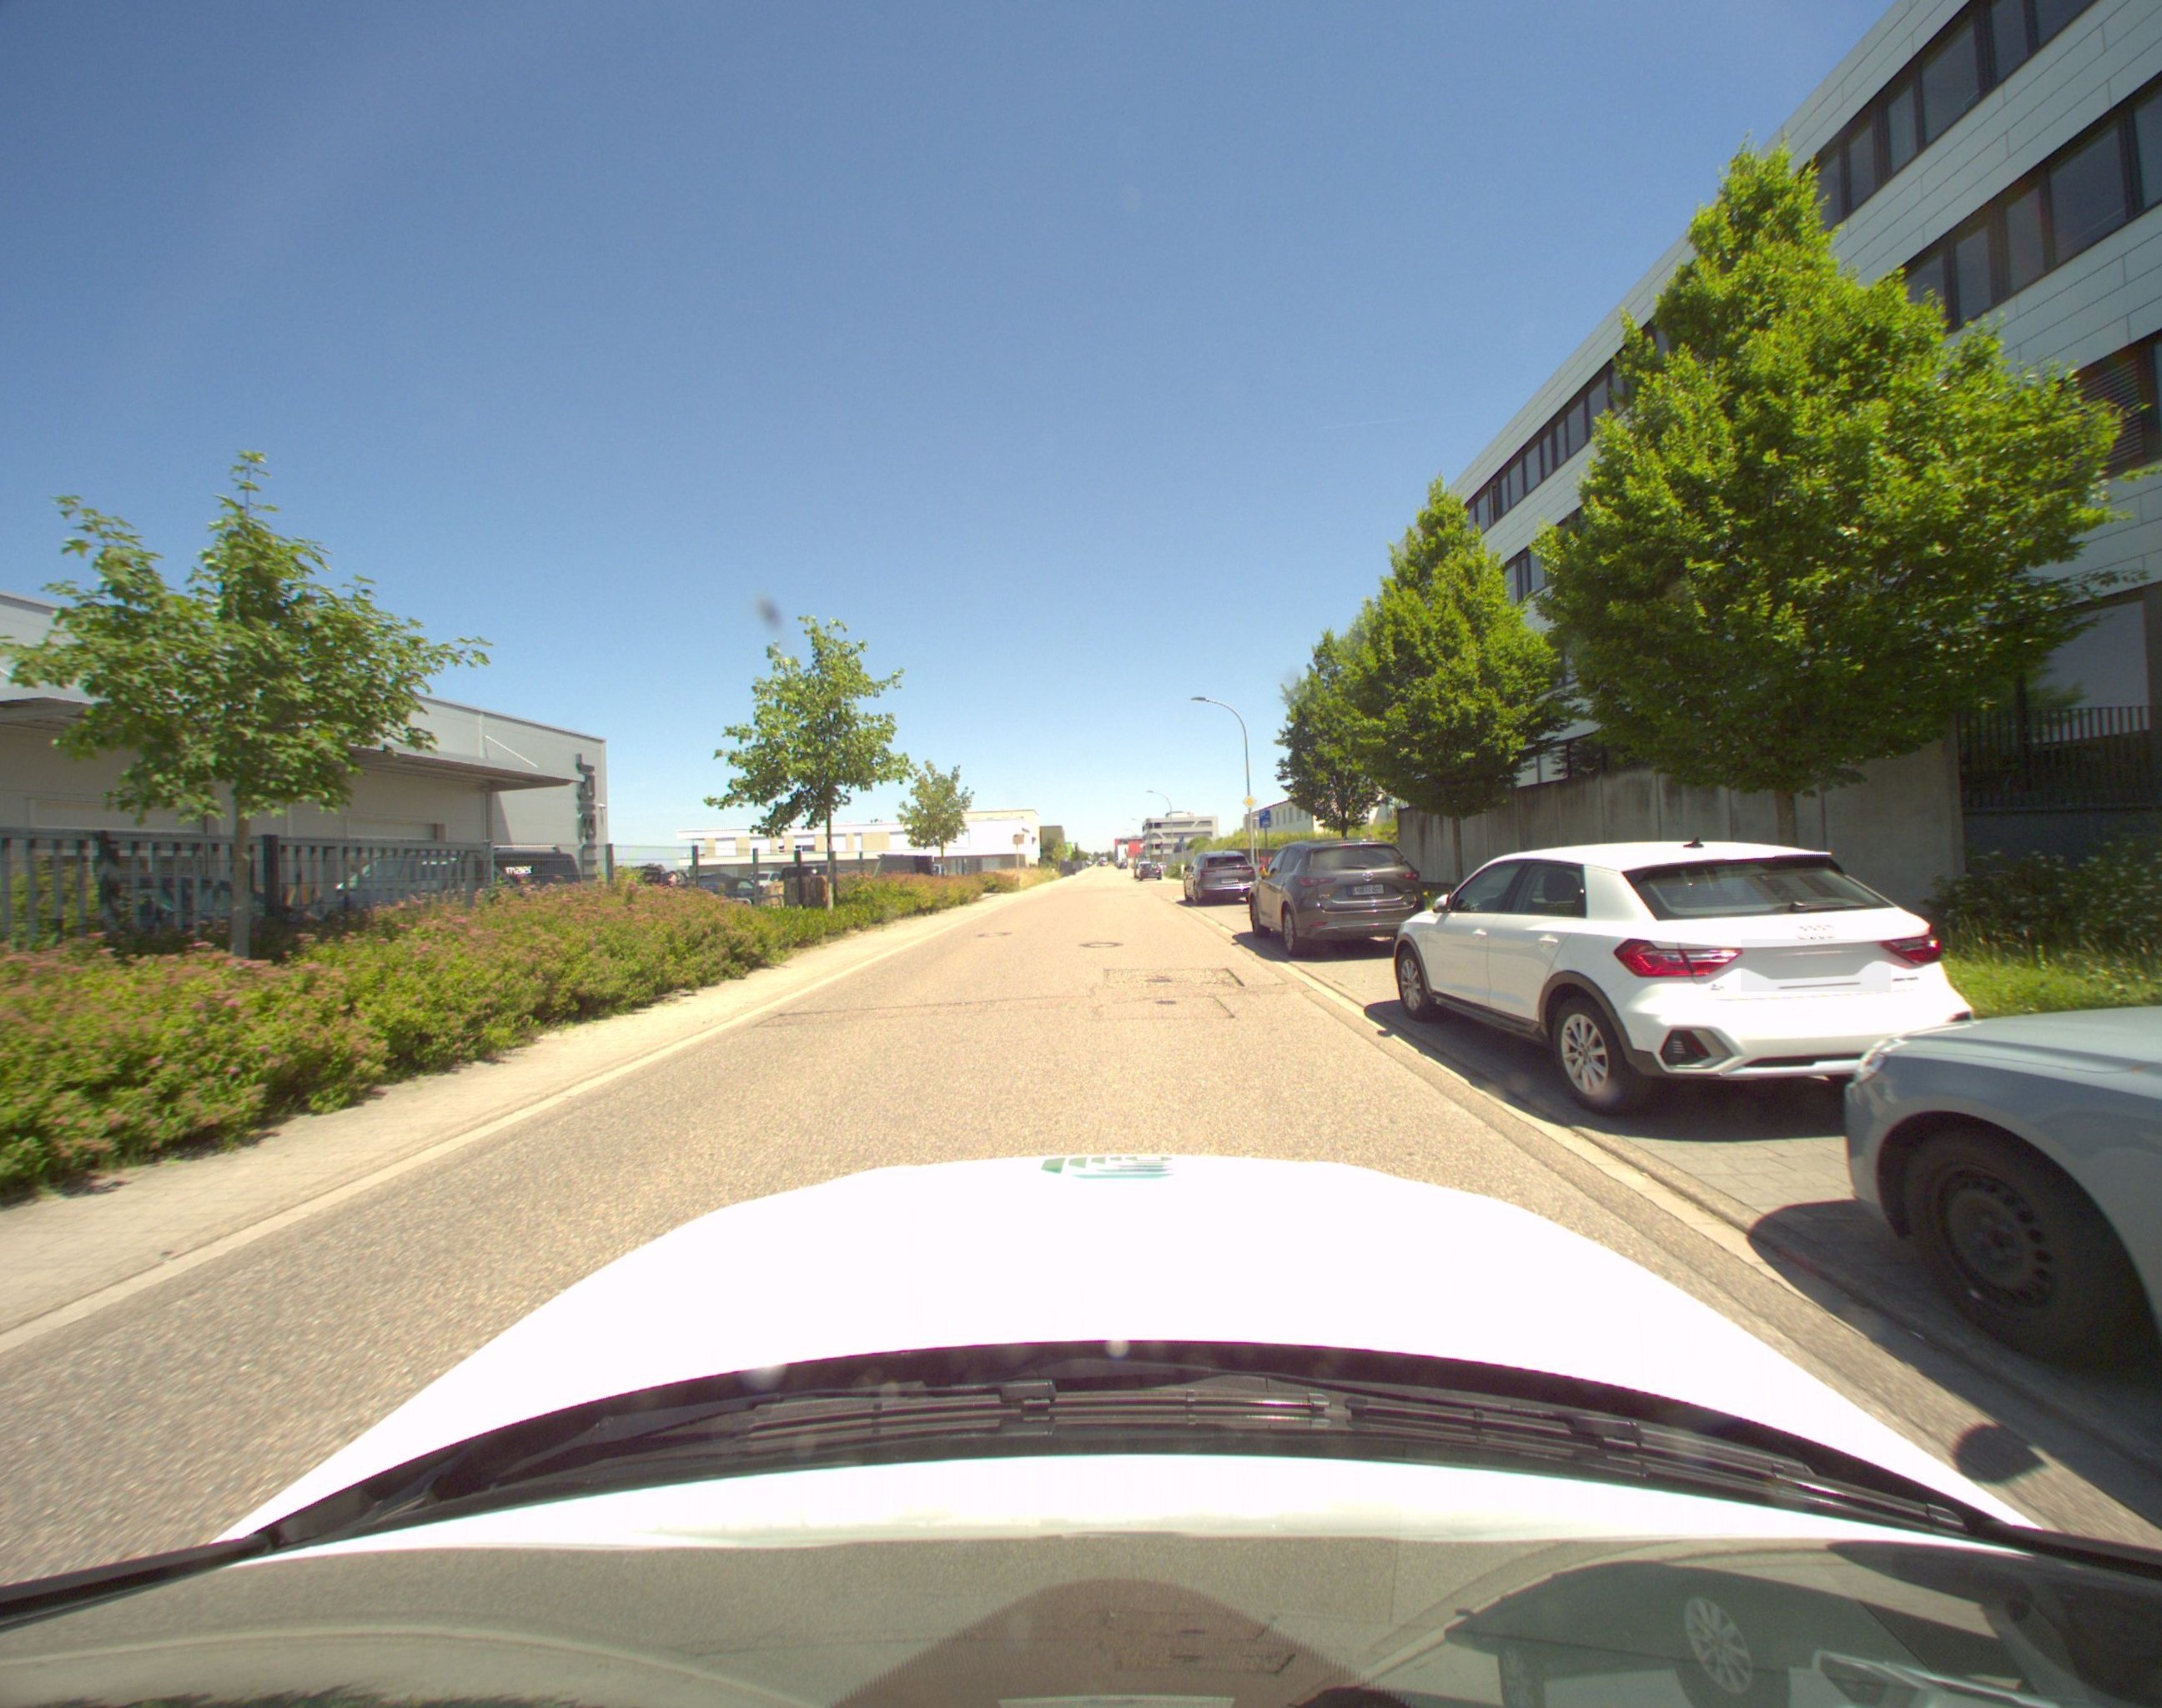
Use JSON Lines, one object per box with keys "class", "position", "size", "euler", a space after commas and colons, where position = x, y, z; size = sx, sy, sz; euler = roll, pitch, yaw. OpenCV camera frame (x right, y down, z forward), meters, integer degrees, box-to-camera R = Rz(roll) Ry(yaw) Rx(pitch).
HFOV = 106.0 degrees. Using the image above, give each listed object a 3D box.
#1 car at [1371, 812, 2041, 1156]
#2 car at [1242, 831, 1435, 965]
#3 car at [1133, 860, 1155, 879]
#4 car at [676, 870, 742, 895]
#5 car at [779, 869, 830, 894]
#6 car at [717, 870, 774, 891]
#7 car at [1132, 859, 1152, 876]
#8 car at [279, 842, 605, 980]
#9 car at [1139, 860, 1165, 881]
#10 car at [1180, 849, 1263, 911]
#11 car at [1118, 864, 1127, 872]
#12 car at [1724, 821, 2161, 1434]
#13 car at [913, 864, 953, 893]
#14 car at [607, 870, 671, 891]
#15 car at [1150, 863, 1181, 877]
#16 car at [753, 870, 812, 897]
{"class": "car", "position": [3.615, 0.618, 5.809], "size": [1.709, 1.481, 4.033], "euler": [-4, -1, 2]}
{"class": "car", "position": [3.810, 0.588, 12.887], "size": [1.751, 1.663, 4.365], "euler": [-4, 0, 2]}
{"class": "car", "position": [5.746, 1.390, 74.140], "size": [1.899, 1.546, 4.005], "euler": [-4, -1, 4]}
{"class": "car", "position": [-19.900, 1.502, 43.724], "size": [1.820, 1.134, 3.758], "euler": [-2, -1, -1]}
{"class": "car", "position": [-16.875, 1.660, 49.799], "size": [1.820, 1.337, 3.758], "euler": [-2, -1, -1]}
{"class": "car", "position": [-19.815, 1.553, 48.303], "size": [1.820, 1.134, 3.758], "euler": [-2, -1, -1]}
{"class": "car", "position": [6.043, 1.321, 80.420], "size": [1.899, 1.546, 4.005], "euler": [-4, -1, 4]}
{"class": "car", "position": [-11.122, 0.892, 14.760], "size": [1.992, 2.099, 4.697], "euler": [0, -1, 3]}
{"class": "car", "position": [5.672, 1.296, 65.217], "size": [1.899, 1.448, 4.005], "euler": [-4, -1, 4]}
{"class": "car", "position": [4.341, 0.759, 25.863], "size": [1.797, 1.662, 4.608], "euler": [-4, -1, 1]}
{"class": "car", "position": [8.999, 2.935, 175.937], "size": [1.769, 1.728, 4.001], "euler": [0, -1, 2]}
{"class": "car", "position": [3.401, 0.633, 1.263], "size": [1.709, 1.423, 3.953], "euler": [-4, -1, 2]}
{"class": "car", "position": [-8.280, 1.354, 45.722], "size": [1.695, 1.520, 2.996], "euler": [-2, -1, -1]}
{"class": "car", "position": [-26.579, 1.587, 49.081], "size": [1.820, 1.134, 3.758], "euler": [-2, -1, -1]}
{"class": "car", "position": [12.680, 2.432, 122.360], "size": [4.603, 2.014, 2.610], "euler": [0, -1, 5]}
{"class": "car", "position": [-16.343, 1.602, 44.725], "size": [1.820, 1.337, 3.758], "euler": [-2, -1, -1]}
